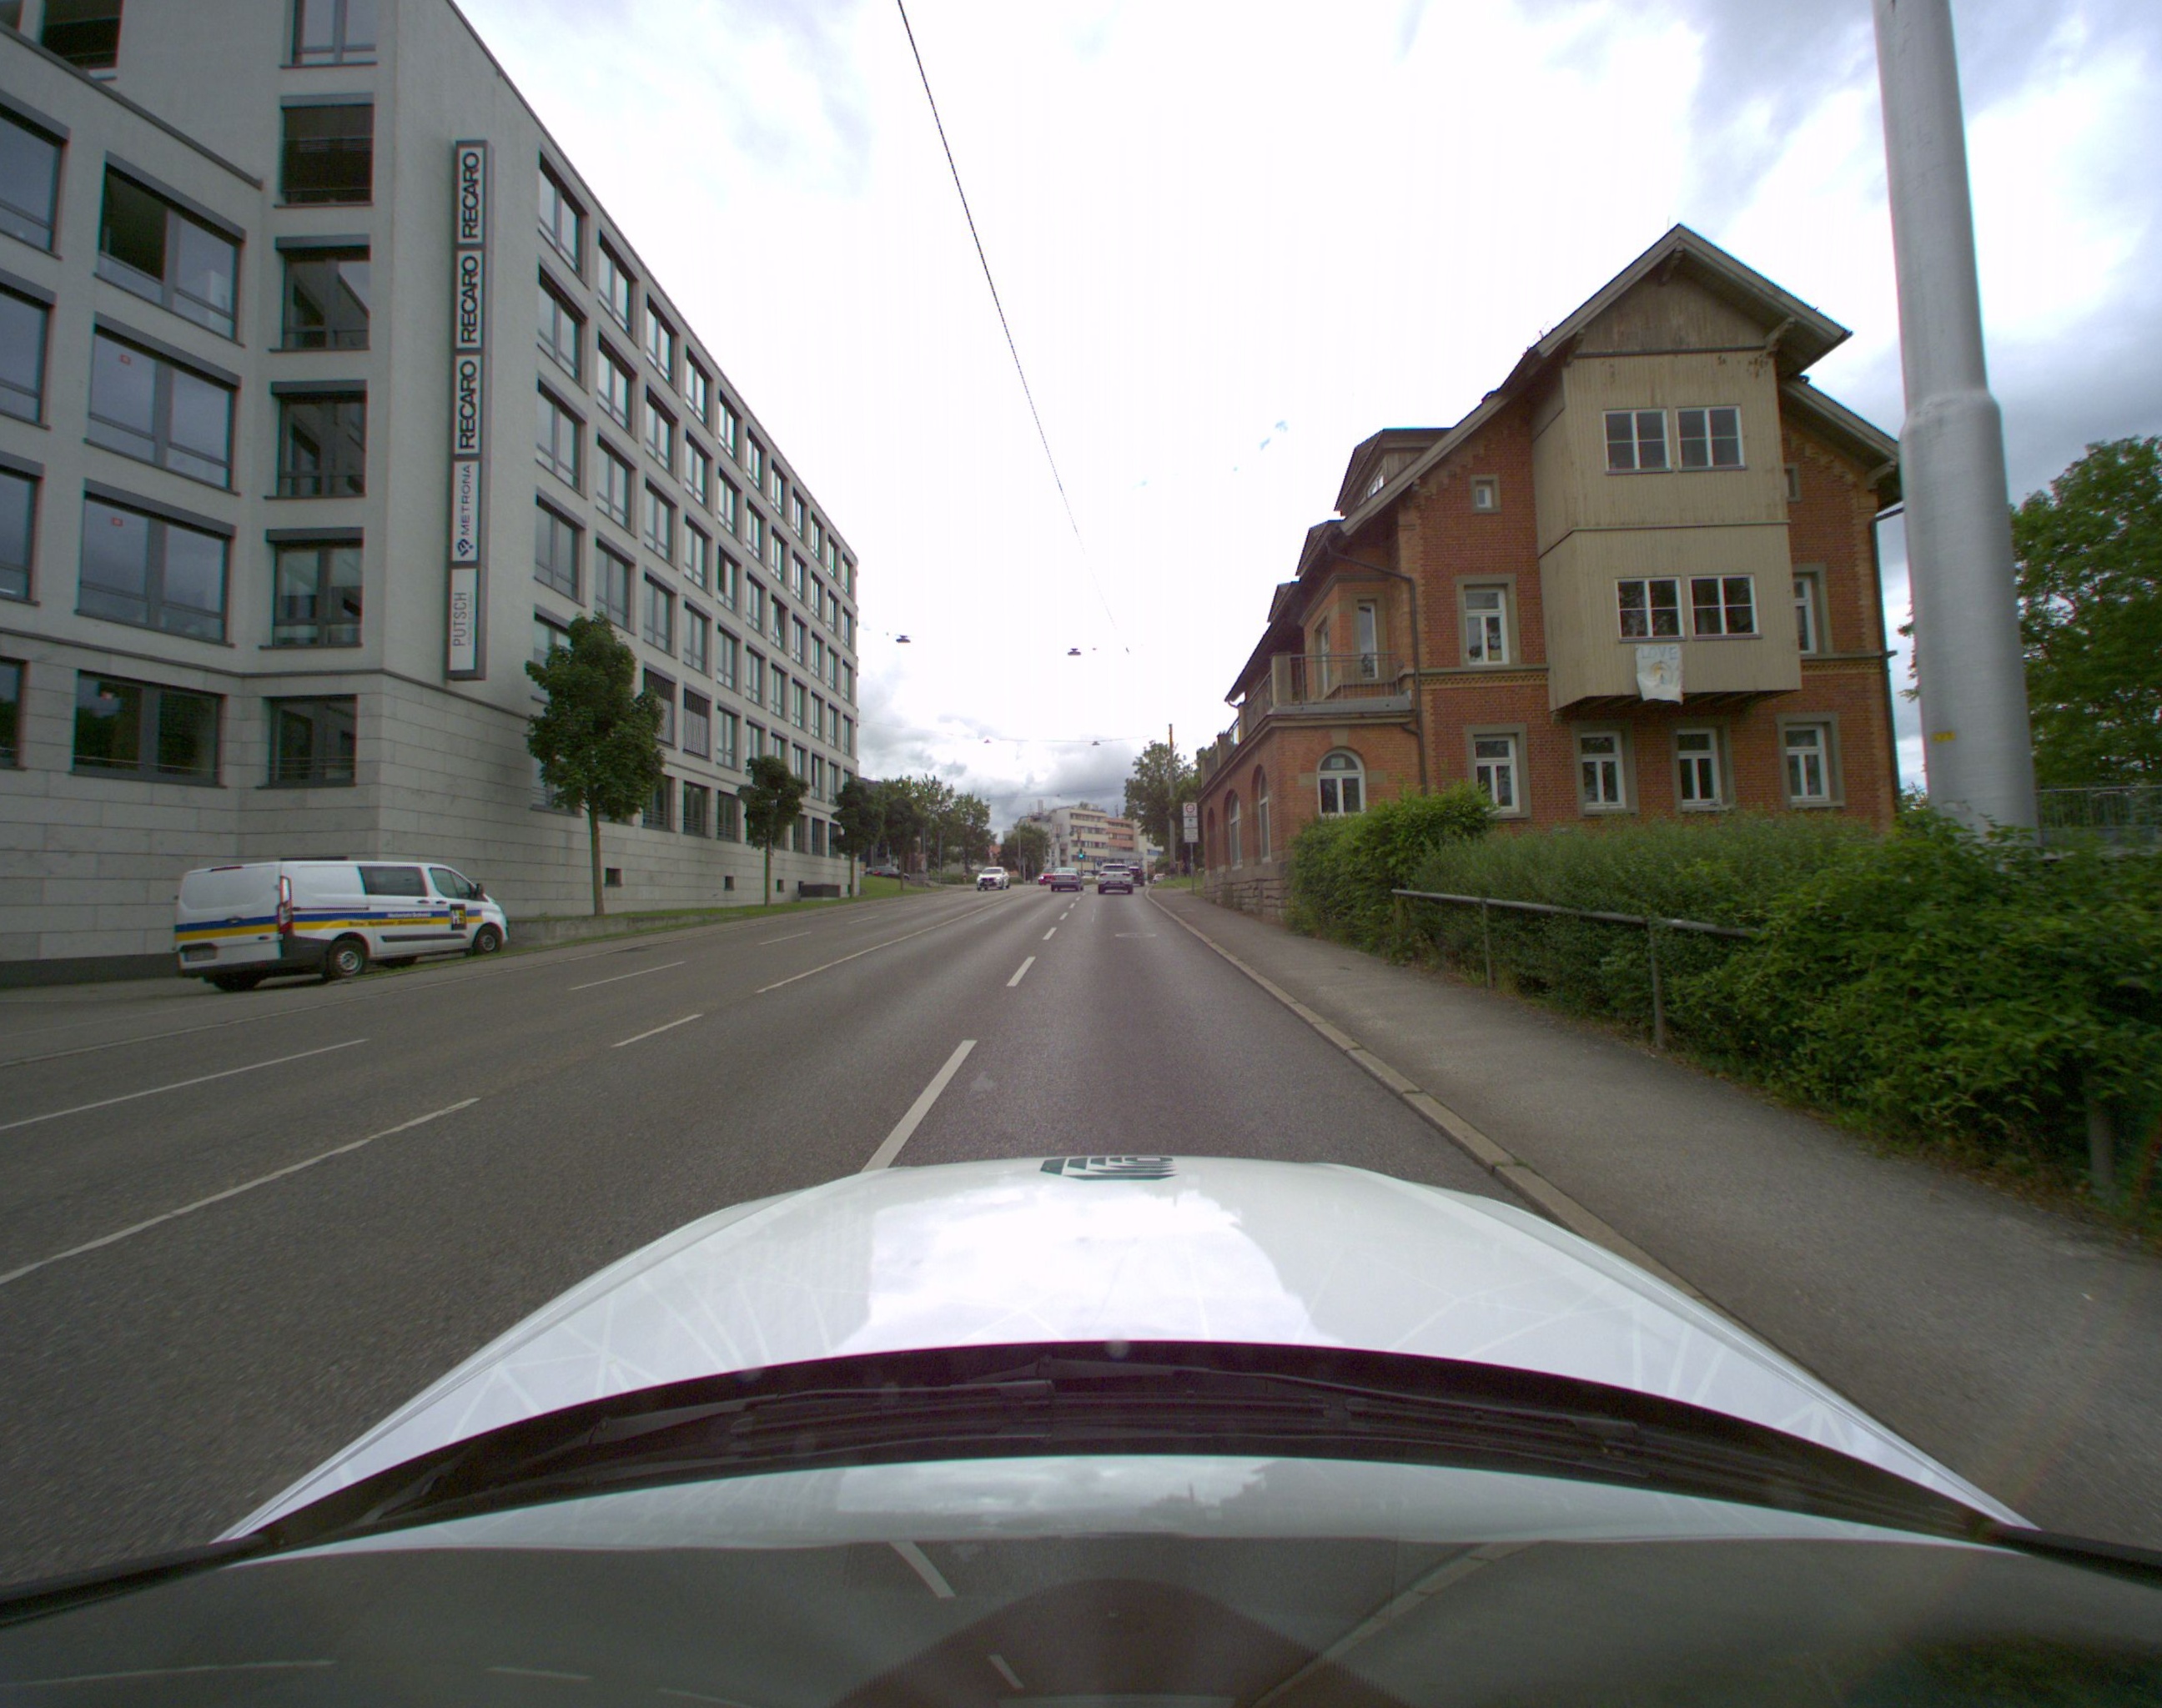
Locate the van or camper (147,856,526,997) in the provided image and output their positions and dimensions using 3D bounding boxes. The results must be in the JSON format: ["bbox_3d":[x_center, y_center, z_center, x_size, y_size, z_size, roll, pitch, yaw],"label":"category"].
[{"bbox_3d":[-12.777,1.100,14.587,2.052,1.968,4.876,-4,-1,3],"label":"van or camper"}]

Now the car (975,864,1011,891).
[{"bbox_3d":[-6.495,1.738,60.714,1.862,1.789,4.656,-4,-1,2],"label":"car"}]

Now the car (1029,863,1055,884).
[{"bbox_3d":[-3.499,1.722,73.950,1.862,1.702,4.431,-4,-1,2],"label":"car"}]

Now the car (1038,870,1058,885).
[{"bbox_3d":[-3.572,2.502,87.895,1.740,1.494,4.210,-4,-1,2],"label":"car"}]

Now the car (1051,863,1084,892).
[{"bbox_3d":[-0.767,1.362,48.096,1.693,1.516,3.737,-1,0,2],"label":"car"}]

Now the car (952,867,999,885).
[{"bbox_3d":[-9.774,2.024,75.698,4.023,1.544,1.759,0,-2,-45],"label":"car"}]

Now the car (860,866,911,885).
[{"bbox_3d":[-16.539,1.784,69.059,1.759,1.463,4.467,0,0,27],"label":"car"}]

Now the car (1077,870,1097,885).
[{"bbox_3d":[0.730,2.845,98.020,1.760,1.571,4.295,-4,-1,9],"label":"car"}]

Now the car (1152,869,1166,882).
[{"bbox_3d":[10.168,2.854,106.286,1.761,1.571,4.292,-2,-1,6],"label":"car"}]

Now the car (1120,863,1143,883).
[{"bbox_3d":[3.887,1.484,63.407,1.693,1.516,3.495,-1,-2,3],"label":"car"}]

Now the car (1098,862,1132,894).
[{"bbox_3d":[1.764,1.239,43.266,1.693,1.548,3.737,2,0,2],"label":"car"}]
